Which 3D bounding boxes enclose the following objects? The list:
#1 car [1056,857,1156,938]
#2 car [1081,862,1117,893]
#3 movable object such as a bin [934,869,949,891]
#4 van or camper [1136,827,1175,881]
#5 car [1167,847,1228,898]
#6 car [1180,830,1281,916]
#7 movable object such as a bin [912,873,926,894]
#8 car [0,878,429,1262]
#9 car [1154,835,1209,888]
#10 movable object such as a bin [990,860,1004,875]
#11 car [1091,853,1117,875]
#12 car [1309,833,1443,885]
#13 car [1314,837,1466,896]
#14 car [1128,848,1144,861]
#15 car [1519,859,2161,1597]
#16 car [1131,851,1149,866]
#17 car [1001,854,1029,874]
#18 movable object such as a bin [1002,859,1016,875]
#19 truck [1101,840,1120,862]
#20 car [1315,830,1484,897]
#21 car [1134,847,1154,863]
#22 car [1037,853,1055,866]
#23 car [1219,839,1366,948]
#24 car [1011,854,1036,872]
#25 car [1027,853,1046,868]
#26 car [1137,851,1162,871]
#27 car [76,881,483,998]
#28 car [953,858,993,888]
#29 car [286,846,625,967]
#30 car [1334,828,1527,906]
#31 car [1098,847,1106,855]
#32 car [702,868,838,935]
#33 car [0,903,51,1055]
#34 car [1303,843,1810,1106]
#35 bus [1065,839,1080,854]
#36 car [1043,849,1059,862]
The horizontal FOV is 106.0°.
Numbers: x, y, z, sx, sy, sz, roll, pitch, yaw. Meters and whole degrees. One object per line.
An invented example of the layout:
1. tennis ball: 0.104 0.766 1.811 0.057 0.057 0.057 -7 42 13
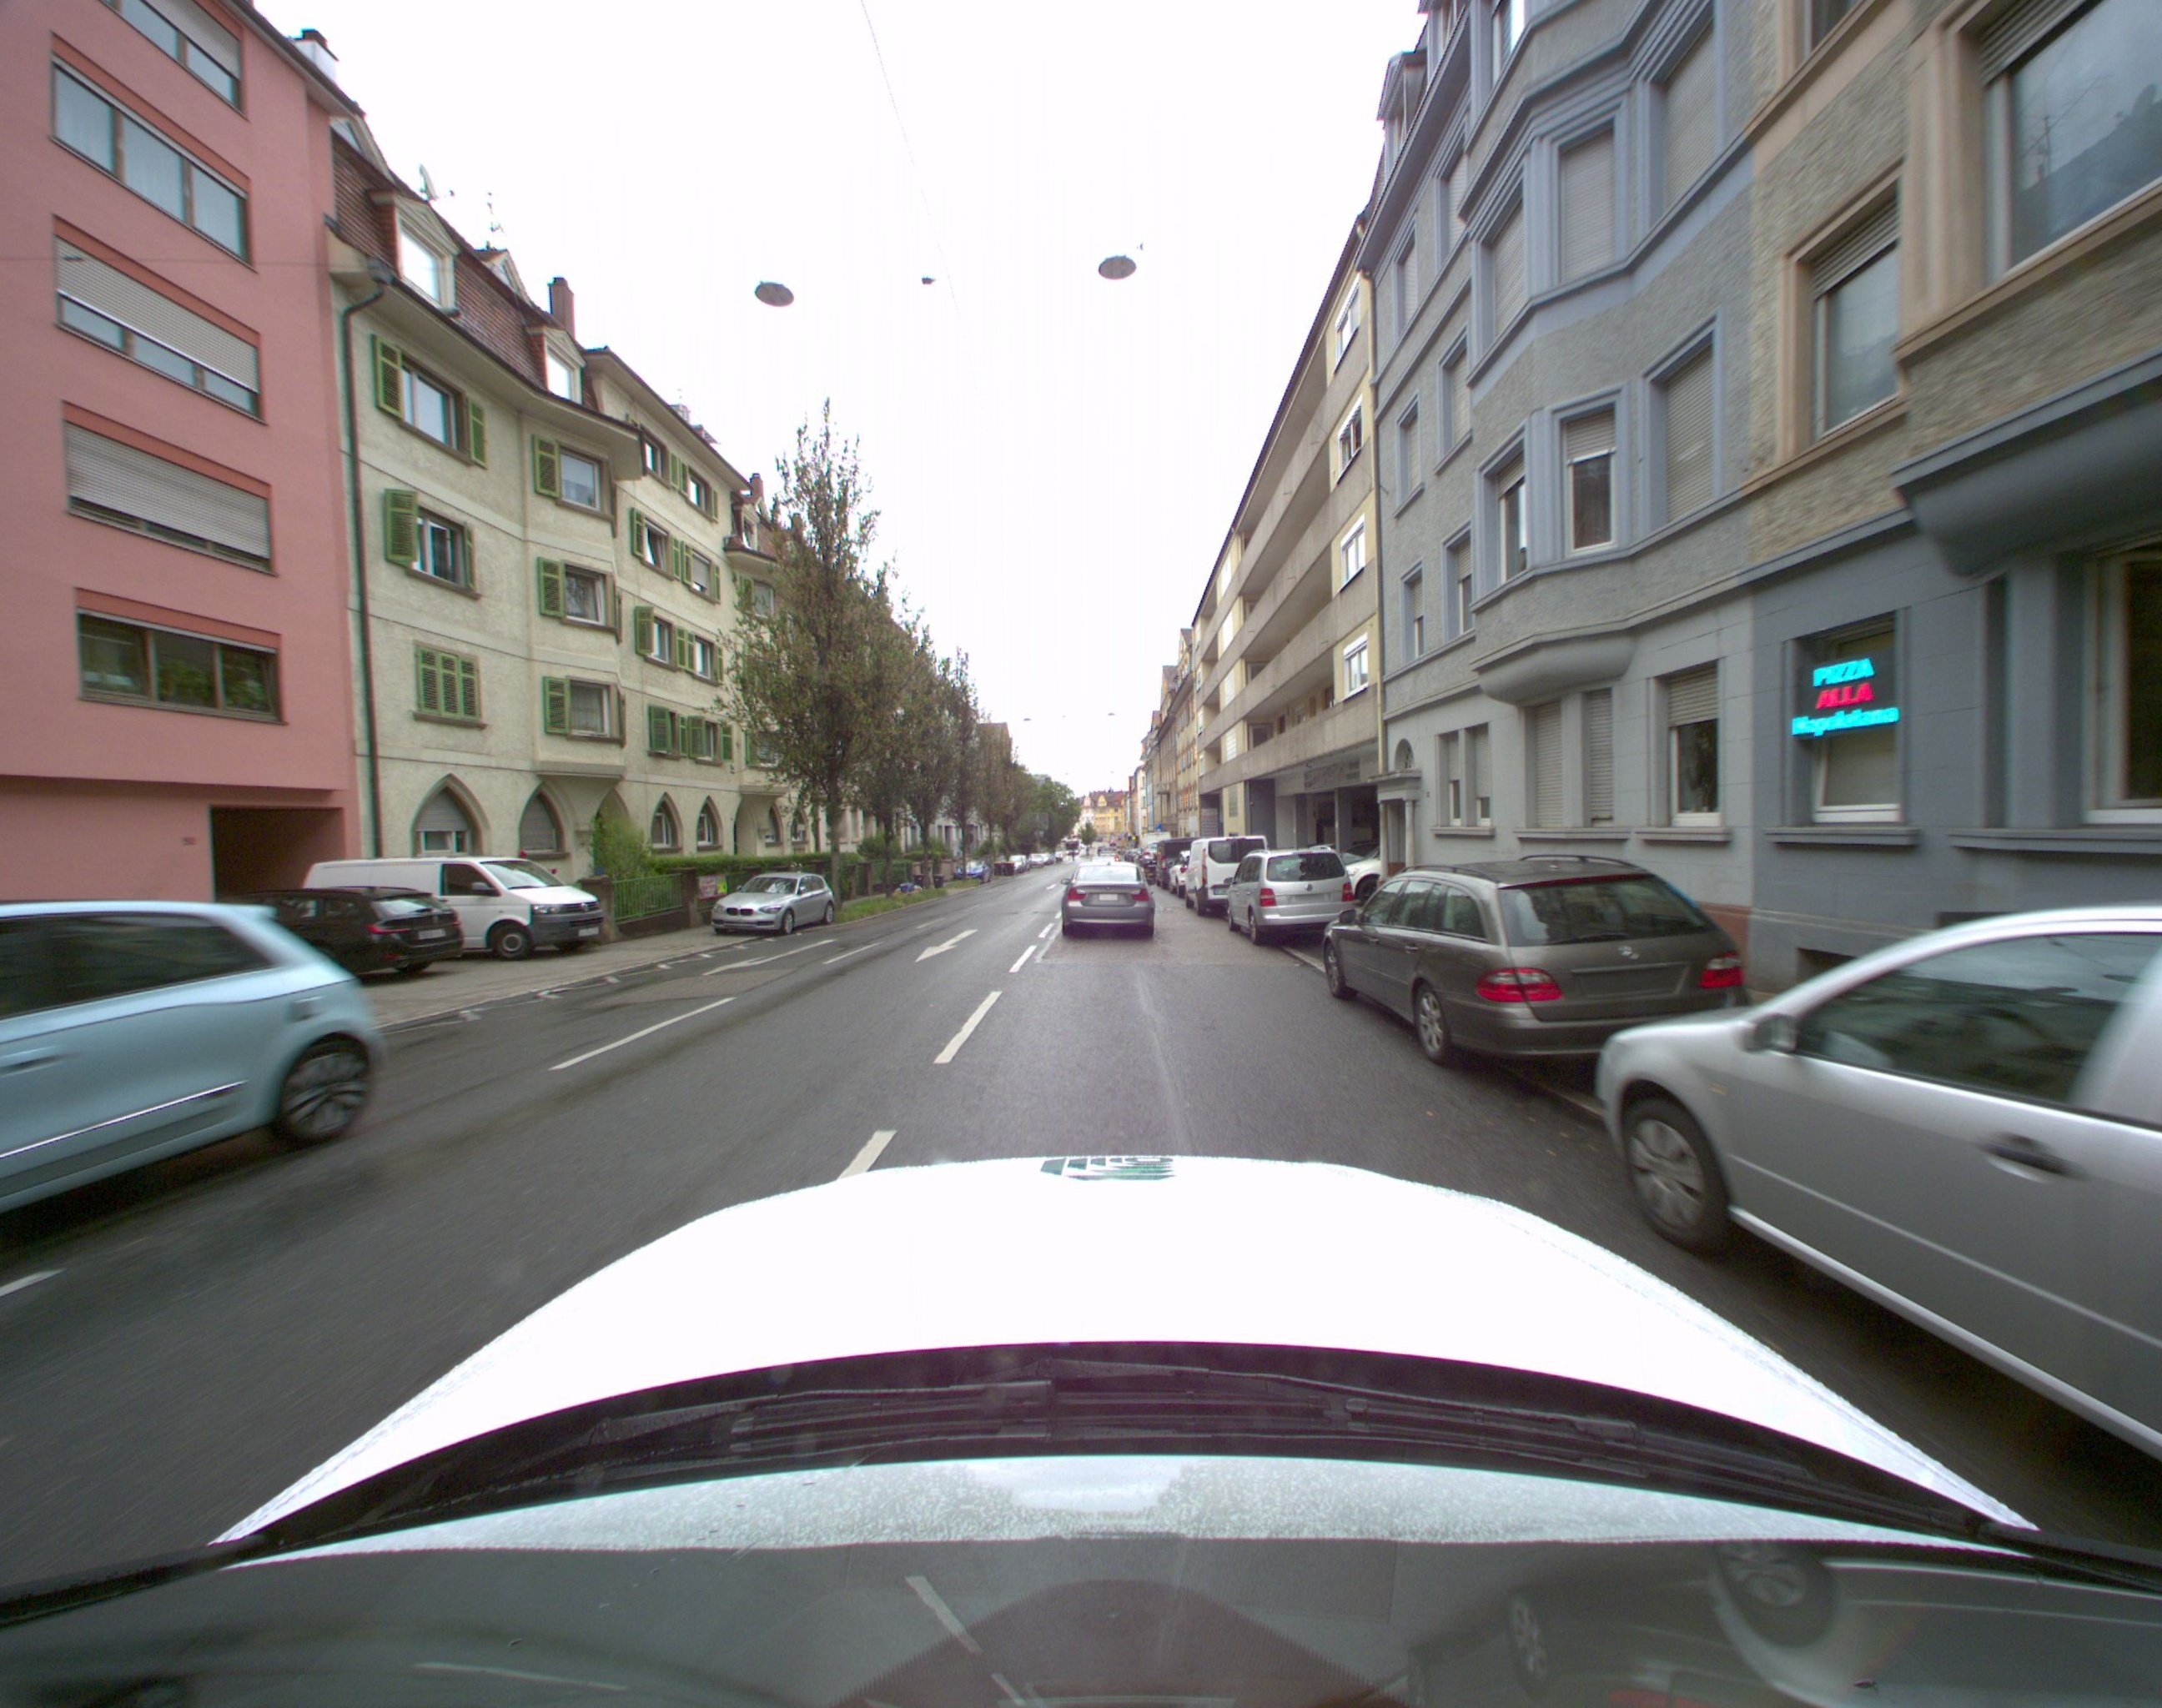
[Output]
1. car: 0.537 0.781 16.279 1.762 1.428 3.743 0 -1 3
2. car: 0.940 1.151 40.674 1.675 1.428 3.744 0 0 3
3. movable object such as a bin: -6.329 1.174 36.920 0.575 0.912 0.637 -2 0 -13
4. van or camper: 4.348 -0.024 47.502 2.023 2.868 6.895 1 0 5
5. car: 4.223 0.630 30.179 1.719 1.670 4.290 -3 0 2
6. car: 3.931 0.468 22.246 1.974 2.007 4.627 -3 0 2
7. movable object such as a bin: -7.317 1.349 36.877 0.575 0.912 0.637 -2 0 -13
8. car: -5.282 0.978 3.580 1.630 1.508 3.756 -4 0 2
9. car: 4.477 0.329 36.949 1.974 2.166 4.752 -3 0 2
10. movable object such as a bin: -6.508 1.048 63.133 0.898 1.168 0.895 -1 0 1
11. car: 1.582 0.669 56.195 1.691 1.483 3.794 0 0 1
12. car: 10.218 0.177 28.506 4.256 1.640 1.673 -2 2 14
13. car: 9.548 0.379 25.496 4.256 1.640 1.673 -2 2 14
14. car: 6.414 0.094 95.356 1.691 1.483 3.976 0 0 1
15. car: 3.014 0.769 2.201 1.605 1.474 4.017 0 0 2
16. car: 6.164 0.461 85.515 1.691 1.483 3.976 0 0 1
17. car: -5.714 0.861 70.727 1.820 1.523 3.739 -3 0 3
18. movable object such as a bin: -5.552 1.009 63.069 0.931 1.168 0.910 -1 0 1
19. truck: 3.231 -0.296 90.654 2.025 2.412 4.828 0 0 1
20. car: 8.989 0.264 23.384 4.294 1.726 1.917 -2 2 14
21. car: 5.953 0.061 77.380 1.691 1.483 3.976 0 0 1
22. car: -4.243 0.657 98.477 1.684 1.523 3.739 -3 0 3
23. car: 3.818 0.641 15.452 1.719 1.670 4.290 -4 0 2
24. car: -5.430 0.837 76.897 1.820 1.523 3.739 -3 0 3
25. car: -4.924 0.732 91.089 1.684 1.523 3.739 -3 0 3
26. car: 5.203 0.505 62.257 1.691 1.483 3.976 0 0 1
27. car: -12.208 1.262 12.643 4.418 1.451 1.791 -2 0 -1
28. car: -6.475 1.137 49.283 1.761 1.593 4.000 -3 0 1
29. car: -11.718 0.937 15.520 4.811 1.974 2.049 -2 0 1
30. car: 8.761 0.325 20.771 4.290 1.804 2.017 -1 2 19
31. car: 4.385 -0.673 172.160 1.691 1.483 3.794 -3 0 1
32. car: -7.700 1.118 20.596 1.719 1.484 3.991 1 0 3
33. car: -12.440 1.310 7.251 3.876 1.457 1.788 -3 0 -6
34. car: 3.554 0.734 7.379 1.892 1.478 4.802 -4 0 3
35. bus: -1.812 -1.576 178.343 2.658 3.024 7.673 -3 0 2
36. car: -3.782 0.210 103.932 1.684 1.523 3.739 -3 0 3
